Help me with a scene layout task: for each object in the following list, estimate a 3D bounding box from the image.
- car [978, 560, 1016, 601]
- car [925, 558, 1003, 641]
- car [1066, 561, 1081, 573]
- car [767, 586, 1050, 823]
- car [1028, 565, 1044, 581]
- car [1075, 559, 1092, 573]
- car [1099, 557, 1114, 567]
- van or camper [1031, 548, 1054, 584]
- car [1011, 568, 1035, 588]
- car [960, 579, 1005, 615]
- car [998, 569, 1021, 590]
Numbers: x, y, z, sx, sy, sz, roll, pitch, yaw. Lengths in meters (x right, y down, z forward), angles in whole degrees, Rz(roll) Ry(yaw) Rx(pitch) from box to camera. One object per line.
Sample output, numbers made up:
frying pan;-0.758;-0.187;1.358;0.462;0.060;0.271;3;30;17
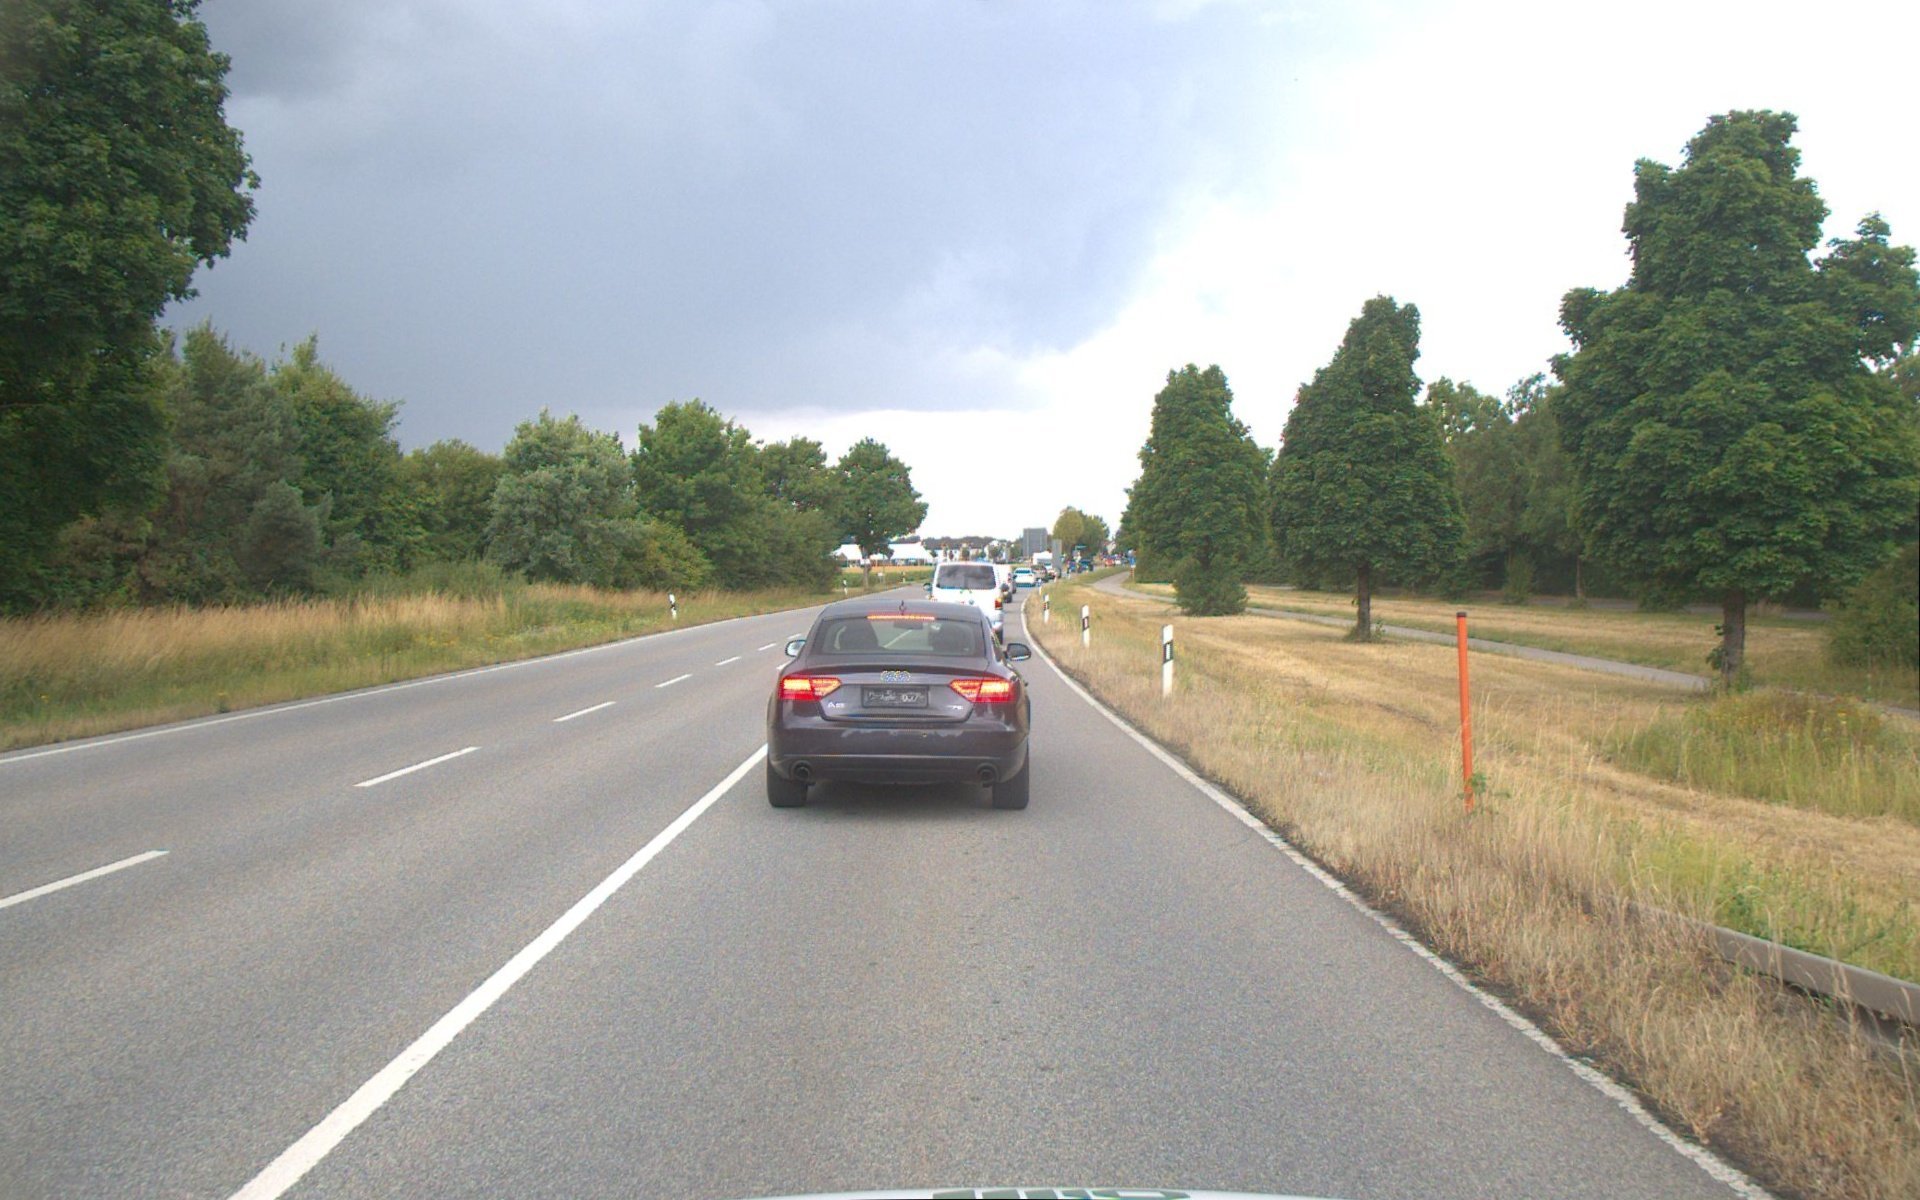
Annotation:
car;1.961;-1.054;87.414;1.952;2.125;4.001;0;1;1
car;0.056;-0.060;40.926;1.801;1.915;3.999;1;1;-1
car;14.521;-4.237;212.236;1.684;1.476;4.000;1;1;0
car;-0.363;0.633;12.282;1.747;1.400;3.999;1;1;-1
car;6.784;-2.400;147.648;1.231;1.377;3.468;0;1;5
car;14.704;-4.101;197.282;1.784;1.624;4.000;1;1;0
car;21.767;-5.604;245.383;1.784;1.519;4.000;1;1;0
van or camper;8.272;-3.428;166.499;2.292;3.542;5.720;0;1;2
car;4.912;-1.742;129.100;1.699;1.541;3.749;0;1;5
car;0.962;-0.146;69.297;1.758;1.489;3.249;0;1;2
car;3.205;-1.334;107.288;1.503;1.300;3.747;0;1;1
